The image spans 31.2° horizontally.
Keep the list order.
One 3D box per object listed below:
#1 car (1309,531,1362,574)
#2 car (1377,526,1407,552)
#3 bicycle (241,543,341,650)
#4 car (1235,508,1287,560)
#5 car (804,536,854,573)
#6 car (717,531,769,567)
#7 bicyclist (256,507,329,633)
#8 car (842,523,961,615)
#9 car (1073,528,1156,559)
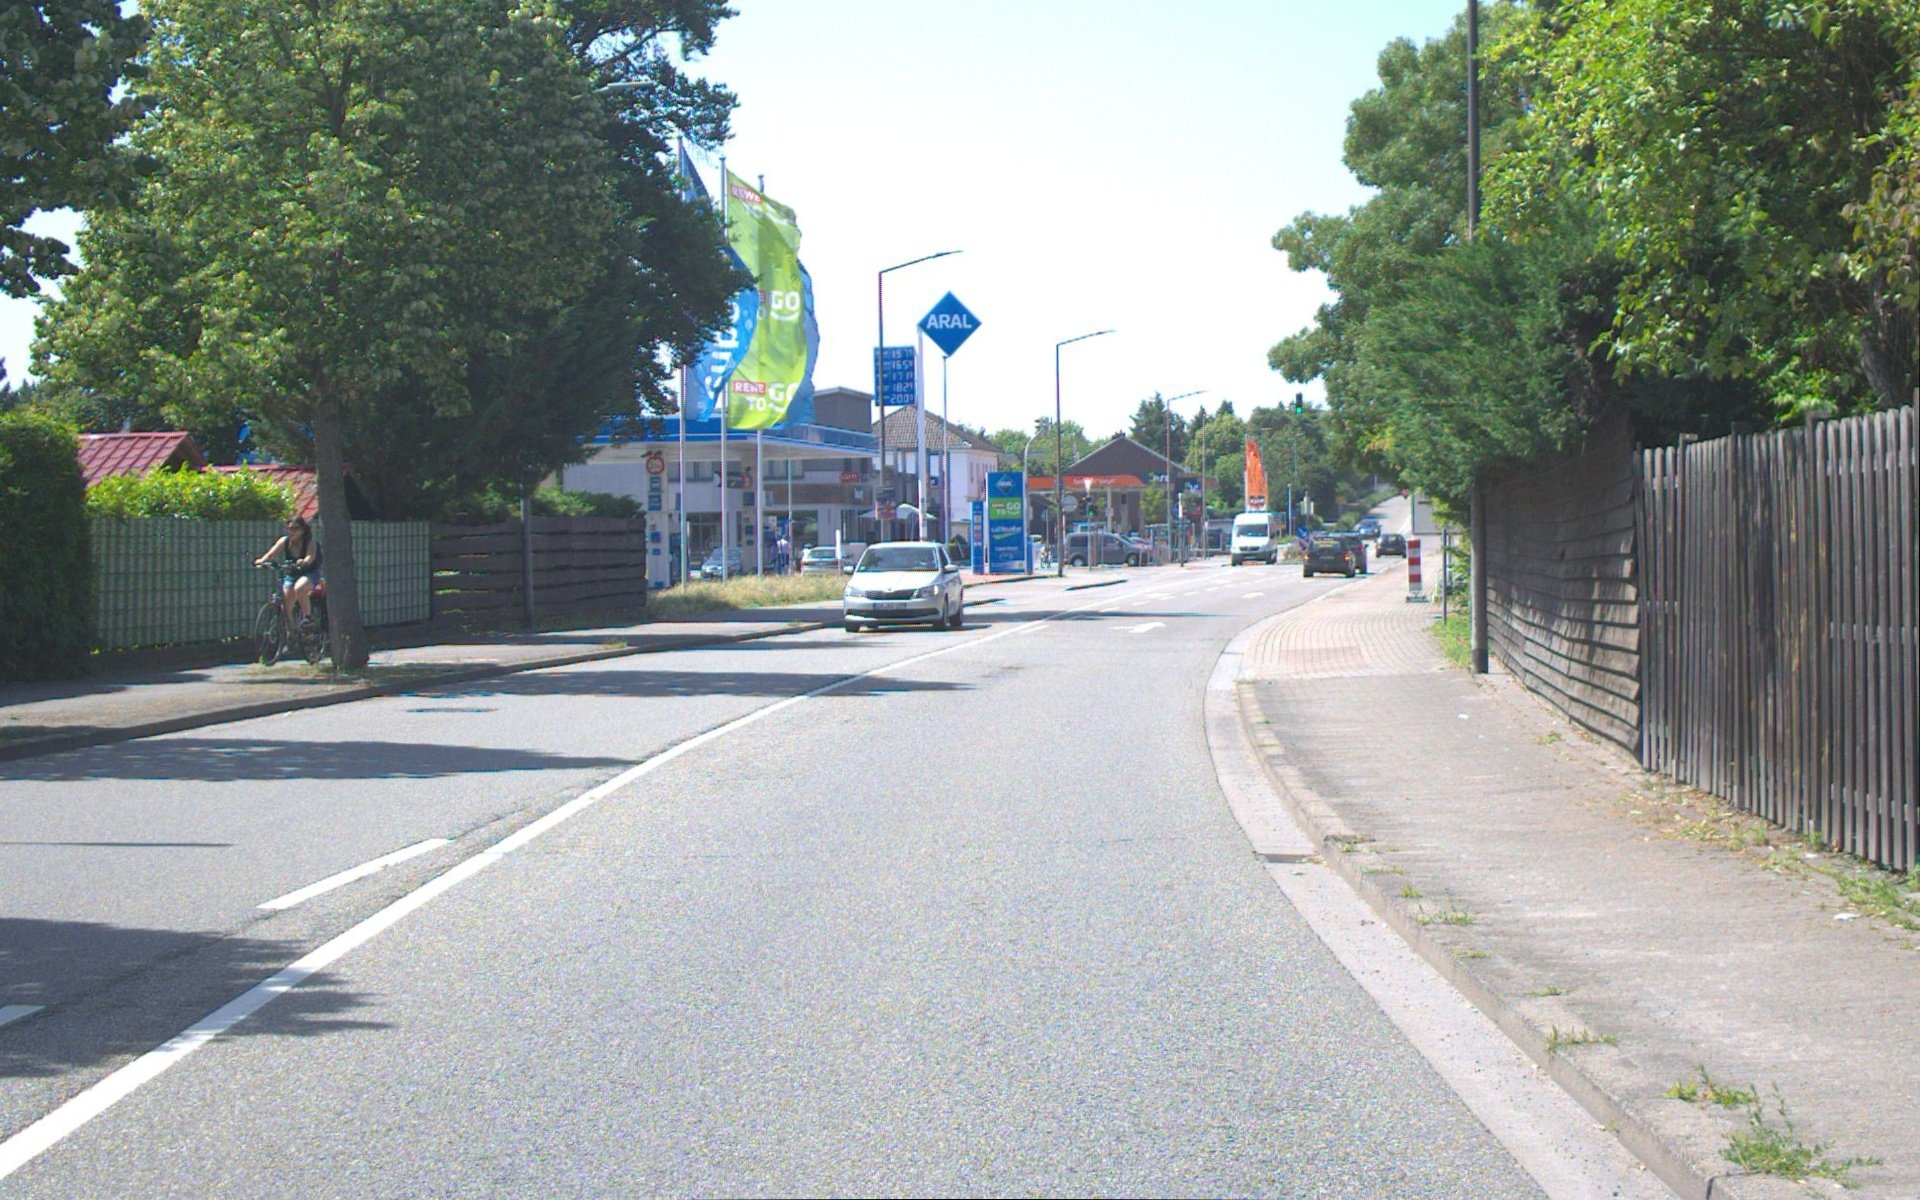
[{"bbox_3d":[12.965,-1.642,118.503,1.666,1.450,3.471,0,1,8],"label":"car"},{"bbox_3d":[24.924,-3.516,198.332,1.666,1.450,3.471,0,1,8],"label":"car"},{"bbox_3d":[-7.499,-0.053,38.608,0.632,1.176,1.816,0,1,4],"label":"bicycle"},{"bbox_3d":[15.174,-3.292,173.126,1.994,2.414,5.944,1,0,11],"label":"car"},{"bbox_3d":[-5.356,-1.870,140.709,1.617,1.415,3.711,-2,1,4],"label":"car"},{"bbox_3d":[-8.861,-2.102,140.603,1.617,1.415,3.711,-2,1,4],"label":"car"},{"bbox_3d":[-7.498,-0.341,38.642,0.628,1.404,0.676,0,1,4],"label":"bicyclist"},{"bbox_3d":[-0.937,-0.526,56.948,1.612,1.477,3.707,0,1,5],"label":"car"},{"bbox_3d":[7.625,-2.775,169.676,3.988,1.503,1.554,0,1,6],"label":"car"}]
